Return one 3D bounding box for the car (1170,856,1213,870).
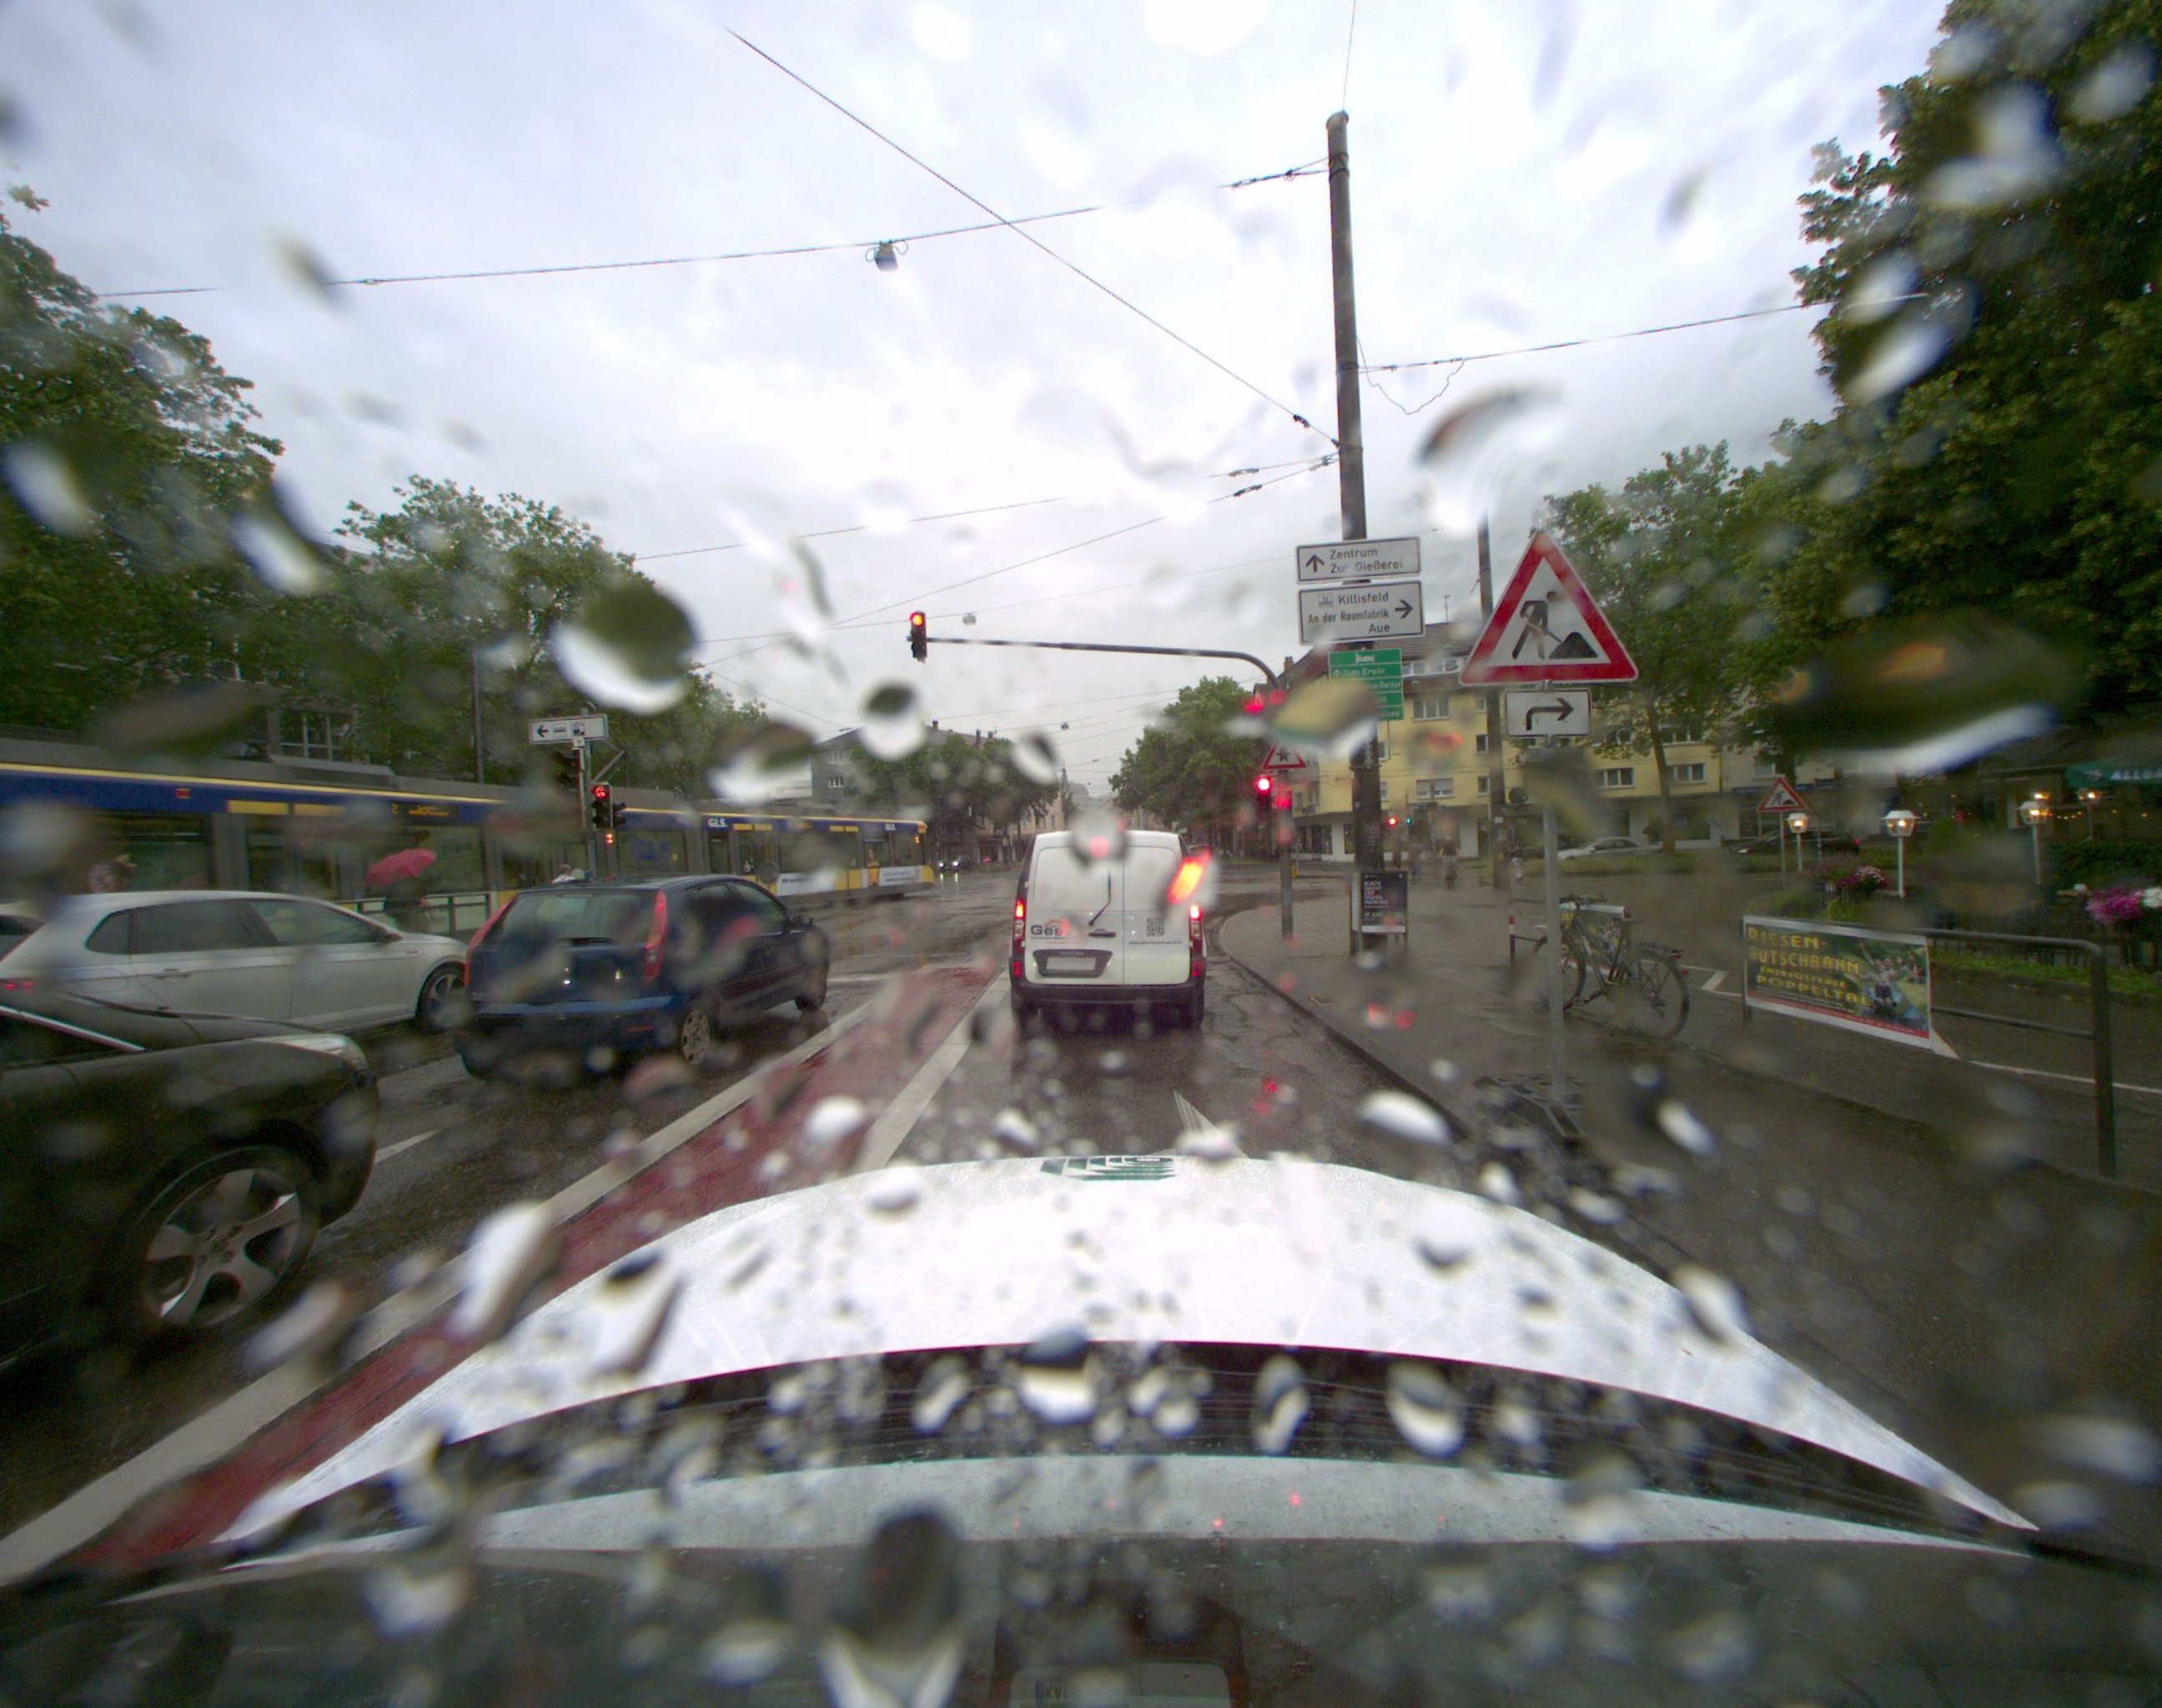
[{"bbox_3d":[9.541,0.747,70.398,3.437,1.130,1.468,-1,0,-6],"label":"car"}]

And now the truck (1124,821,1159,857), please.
[{"bbox_3d":[9.048,-2.081,124.382,3.462,5.087,15.290,-1,0,-3],"label":"truck"}]

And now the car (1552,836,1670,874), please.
[{"bbox_3d":[22.805,0.038,35.207,3.906,1.490,1.815,-1,1,17],"label":"car"}]

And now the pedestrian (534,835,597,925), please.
[{"bbox_3d":[-9.451,0.471,14.953,0.621,1.607,0.744,-1,0,9],"label":"pedestrian"}]

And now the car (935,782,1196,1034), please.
[{"bbox_3d":[-0.053,0.464,9.179,2.092,2.012,4.965,-2,-1,2],"label":"car"}]

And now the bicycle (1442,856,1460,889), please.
[{"bbox_3d":[12.643,0.620,27.813,0.454,1.027,1.913,-1,1,27],"label":"bicycle"}]

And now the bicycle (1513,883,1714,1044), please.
[{"bbox_3d":[4.482,0.847,7.052,0.512,1.107,2.018,1,0,3],"label":"bicycle"}]

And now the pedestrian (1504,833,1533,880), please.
[{"bbox_3d":[15.840,0.085,29.478,0.896,1.669,1.026,-1,0,29],"label":"pedestrian"}]

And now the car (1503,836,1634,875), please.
[{"bbox_3d":[22.853,0.111,38.377,4.902,1.643,2.007,-1,-3,14],"label":"car"}]

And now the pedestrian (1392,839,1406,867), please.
[{"bbox_3d":[16.843,-0.051,43.129,0.615,1.500,0.556,-1,-1,28],"label":"pedestrian"}]

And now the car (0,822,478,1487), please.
[{"bbox_3d":[-3.651,0.767,1.524,1.827,1.668,4.174,-1,0,2],"label":"car"}]

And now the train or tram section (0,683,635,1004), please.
[{"bbox_3d":[-13.089,-0.102,12.404,3.493,3.512,13.690,0,0,8],"label":"train or tram section"}]

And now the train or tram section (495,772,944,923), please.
[{"bbox_3d":[-9.792,-0.128,26.259,3.511,3.413,15.579,0,0,19],"label":"train or tram section"}]

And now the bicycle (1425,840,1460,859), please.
[{"bbox_3d":[24.326,-0.295,54.863,2.085,1.261,0.534,-1,1,16],"label":"bicycle"}]

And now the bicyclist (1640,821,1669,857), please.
[{"bbox_3d":[26.583,-0.694,37.765,0.811,1.615,0.711,-1,0,2],"label":"bicyclist"}]

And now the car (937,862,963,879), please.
[{"bbox_3d":[-12.620,1.546,78.683,1.777,1.552,4.002,-1,0,2],"label":"car"}]

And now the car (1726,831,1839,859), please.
[{"bbox_3d":[29.275,-0.376,34.038,3.511,1.082,1.248,-1,0,4],"label":"car"}]

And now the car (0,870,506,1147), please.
[{"bbox_3d":[-6.789,0.918,6.487,1.623,1.494,3.783,-1,0,2],"label":"car"}]

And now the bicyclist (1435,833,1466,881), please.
[{"bbox_3d":[12.609,0.108,27.798,0.870,1.583,0.865,-1,-1,28],"label":"bicyclist"}]

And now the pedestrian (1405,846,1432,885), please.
[{"bbox_3d":[13.545,0.447,32.674,0.820,1.534,0.616,-1,-1,-37],"label":"pedestrian"}]

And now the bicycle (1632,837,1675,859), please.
[{"bbox_3d":[26.537,-0.288,37.762,1.631,1.002,0.422,-1,0,2],"label":"bicycle"}]

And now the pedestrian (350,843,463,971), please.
[{"bbox_3d":[-9.841,0.746,11.917,0.763,1.746,0.899,-4,1,1],"label":"pedestrian"}]

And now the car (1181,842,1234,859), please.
[{"bbox_3d":[10.696,-0.316,68.865,4.160,1.339,1.518,-2,1,-6],"label":"car"}]

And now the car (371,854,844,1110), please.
[{"bbox_3d":[-3.523,0.807,7.005,1.720,1.578,3.822,-1,0,2],"label":"car"}]
